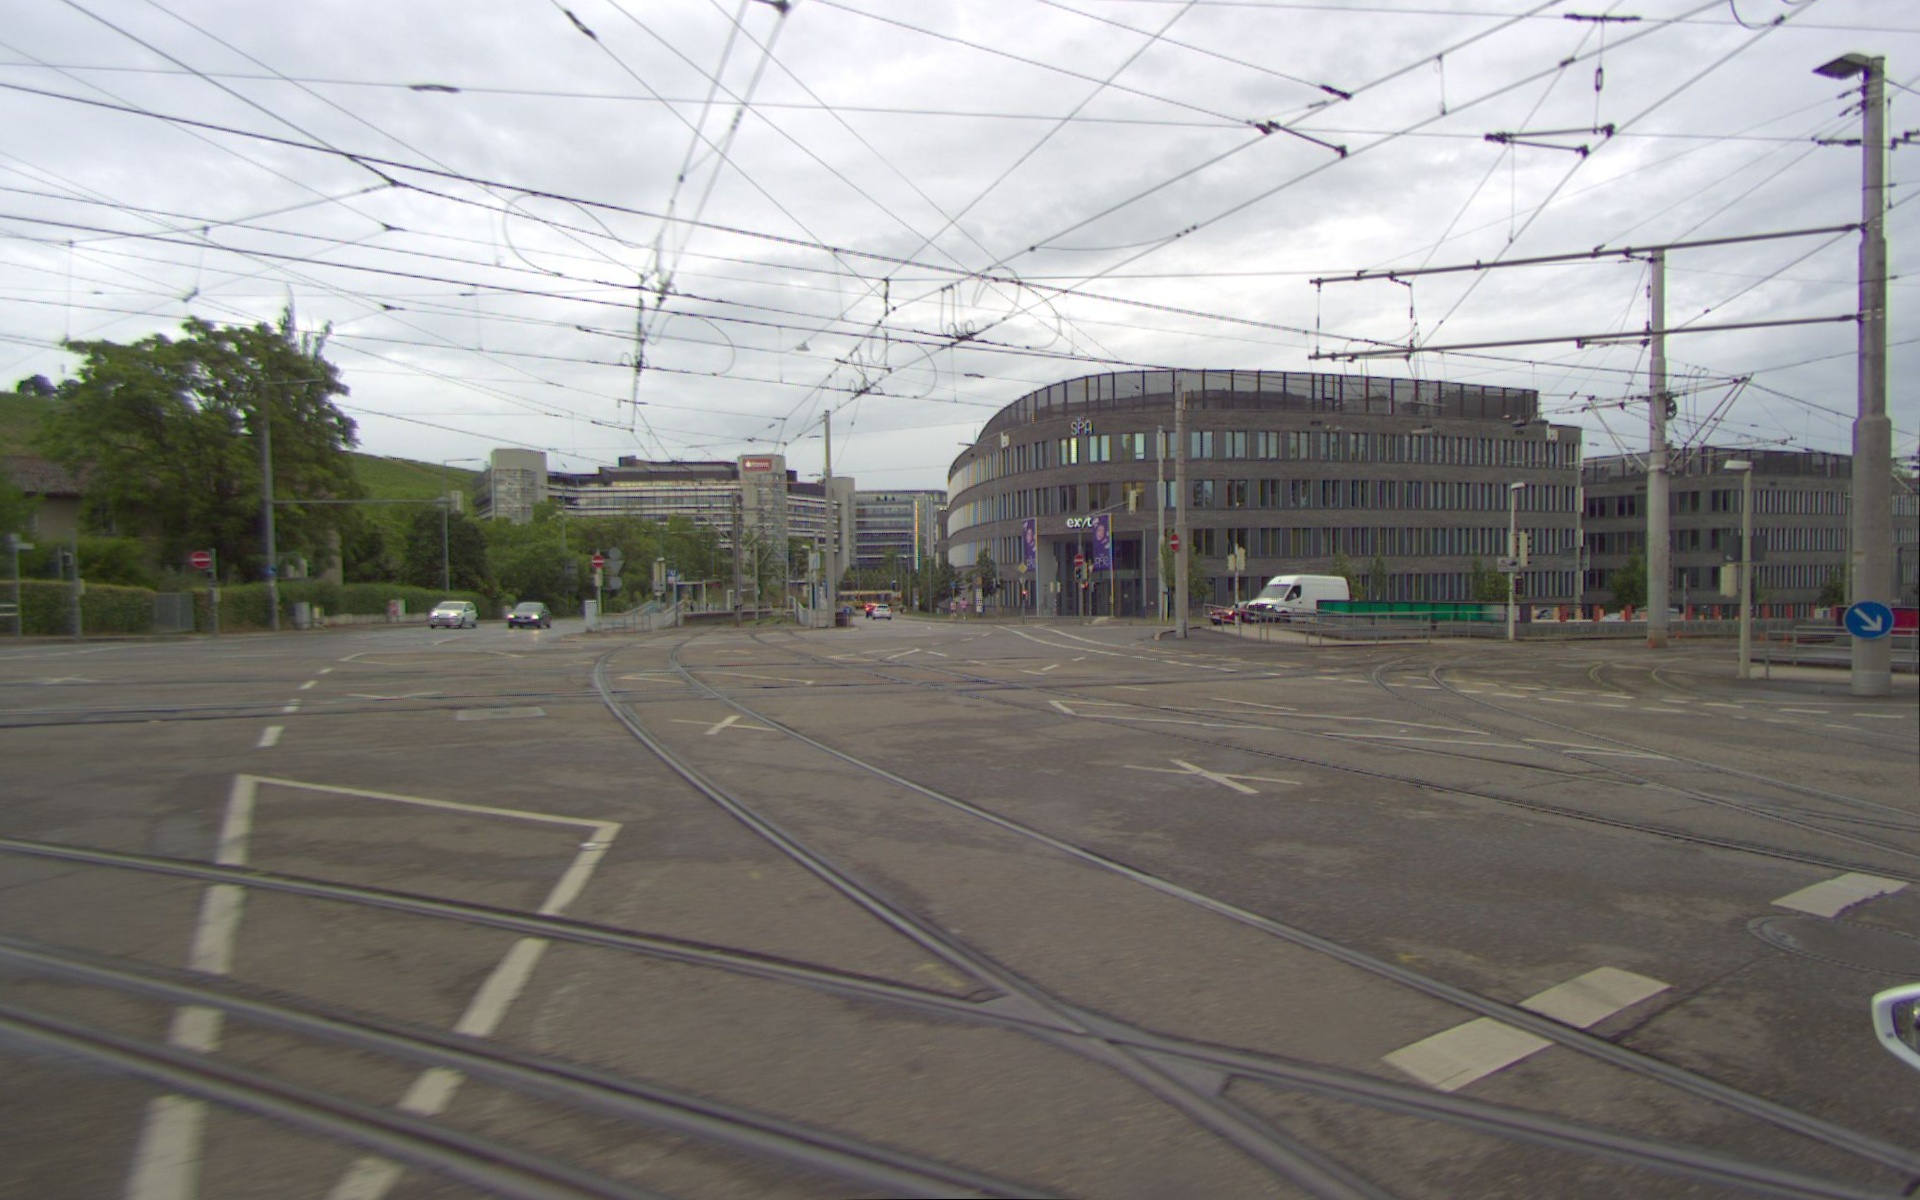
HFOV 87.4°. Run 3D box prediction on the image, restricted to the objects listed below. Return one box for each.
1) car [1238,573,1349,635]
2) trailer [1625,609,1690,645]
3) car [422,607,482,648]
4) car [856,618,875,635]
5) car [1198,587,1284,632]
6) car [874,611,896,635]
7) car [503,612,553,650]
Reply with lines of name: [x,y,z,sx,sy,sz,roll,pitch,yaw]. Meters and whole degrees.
car: [16.694,0.286,50.261,5.648,2.868,1.985,2,-3,-29]
trailer: [46.334,1.784,66.710,4.225,2.101,1.817,5,-2,-30]
car: [-27.778,1.472,55.083,1.967,2.040,3.989,4,-2,-14]
car: [-11.074,3.080,118.158,1.962,1.839,3.998,4,-2,-4]
car: [14.914,0.536,53.287,4.196,2.181,1.985,3,-2,-29]
car: [-7.152,2.194,95.799,1.962,2.040,3.998,4,-2,-4]
car: [-24.706,1.768,57.585,1.967,2.040,3.989,2,-1,-14]
